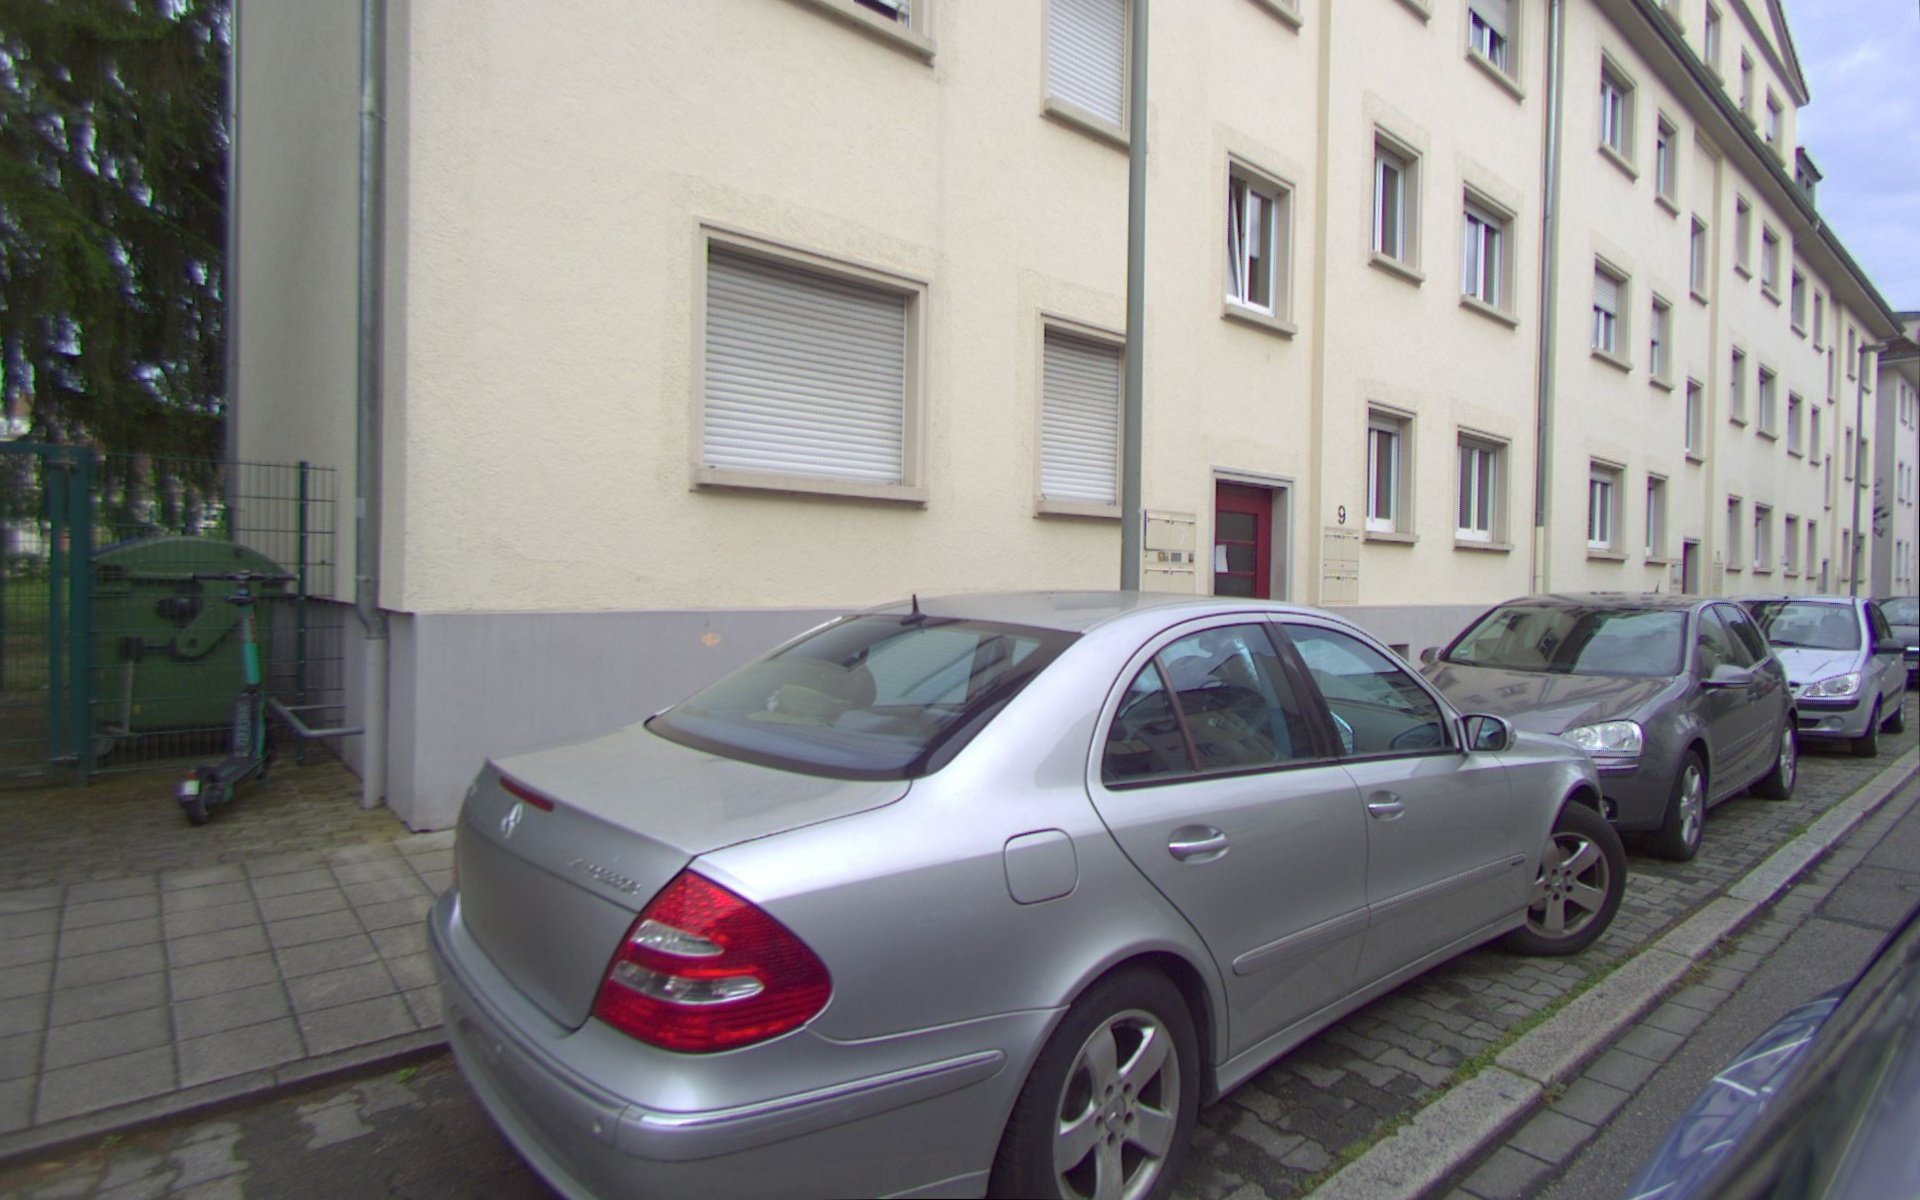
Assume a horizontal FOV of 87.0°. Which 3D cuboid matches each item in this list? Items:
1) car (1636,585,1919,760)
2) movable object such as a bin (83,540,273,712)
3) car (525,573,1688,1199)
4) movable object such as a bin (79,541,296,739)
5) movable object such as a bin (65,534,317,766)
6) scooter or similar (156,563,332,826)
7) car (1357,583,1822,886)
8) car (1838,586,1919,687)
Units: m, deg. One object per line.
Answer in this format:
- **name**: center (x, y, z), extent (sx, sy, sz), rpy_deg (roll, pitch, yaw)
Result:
- **car**: center (8.659, 0.595, 10.539), extent (3.767, 1.468, 1.851), rpy_deg (0, 1, -42)
- **movable object such as a bin**: center (-7.031, 0.187, 9.108), extent (1.283, 1.396, 1.194), rpy_deg (0, 2, -41)
- **car**: center (0.975, 0.687, 3.705), extent (4.425, 1.495, 1.728), rpy_deg (0, 1, -40)
- **movable object such as a bin**: center (-6.069, 0.256, 7.968), extent (1.283, 1.396, 1.111), rpy_deg (0, 2, -41)
- **movable object such as a bin**: center (-5.208, 0.278, 6.877), extent (1.283, 1.396, 1.034), rpy_deg (0, 2, -41)
- **scooter or similar**: center (-3.862, 0.437, 5.542), extent (0.512, 1.261, 1.284), rpy_deg (1, 1, -23)
- **car**: center (4.408, 0.649, 6.858), extent (3.801, 1.495, 1.606), rpy_deg (0, 1, -40)
- **car**: center (16.228, 0.565, 17.005), extent (3.991, 1.536, 1.728), rpy_deg (0, 1, -42)
